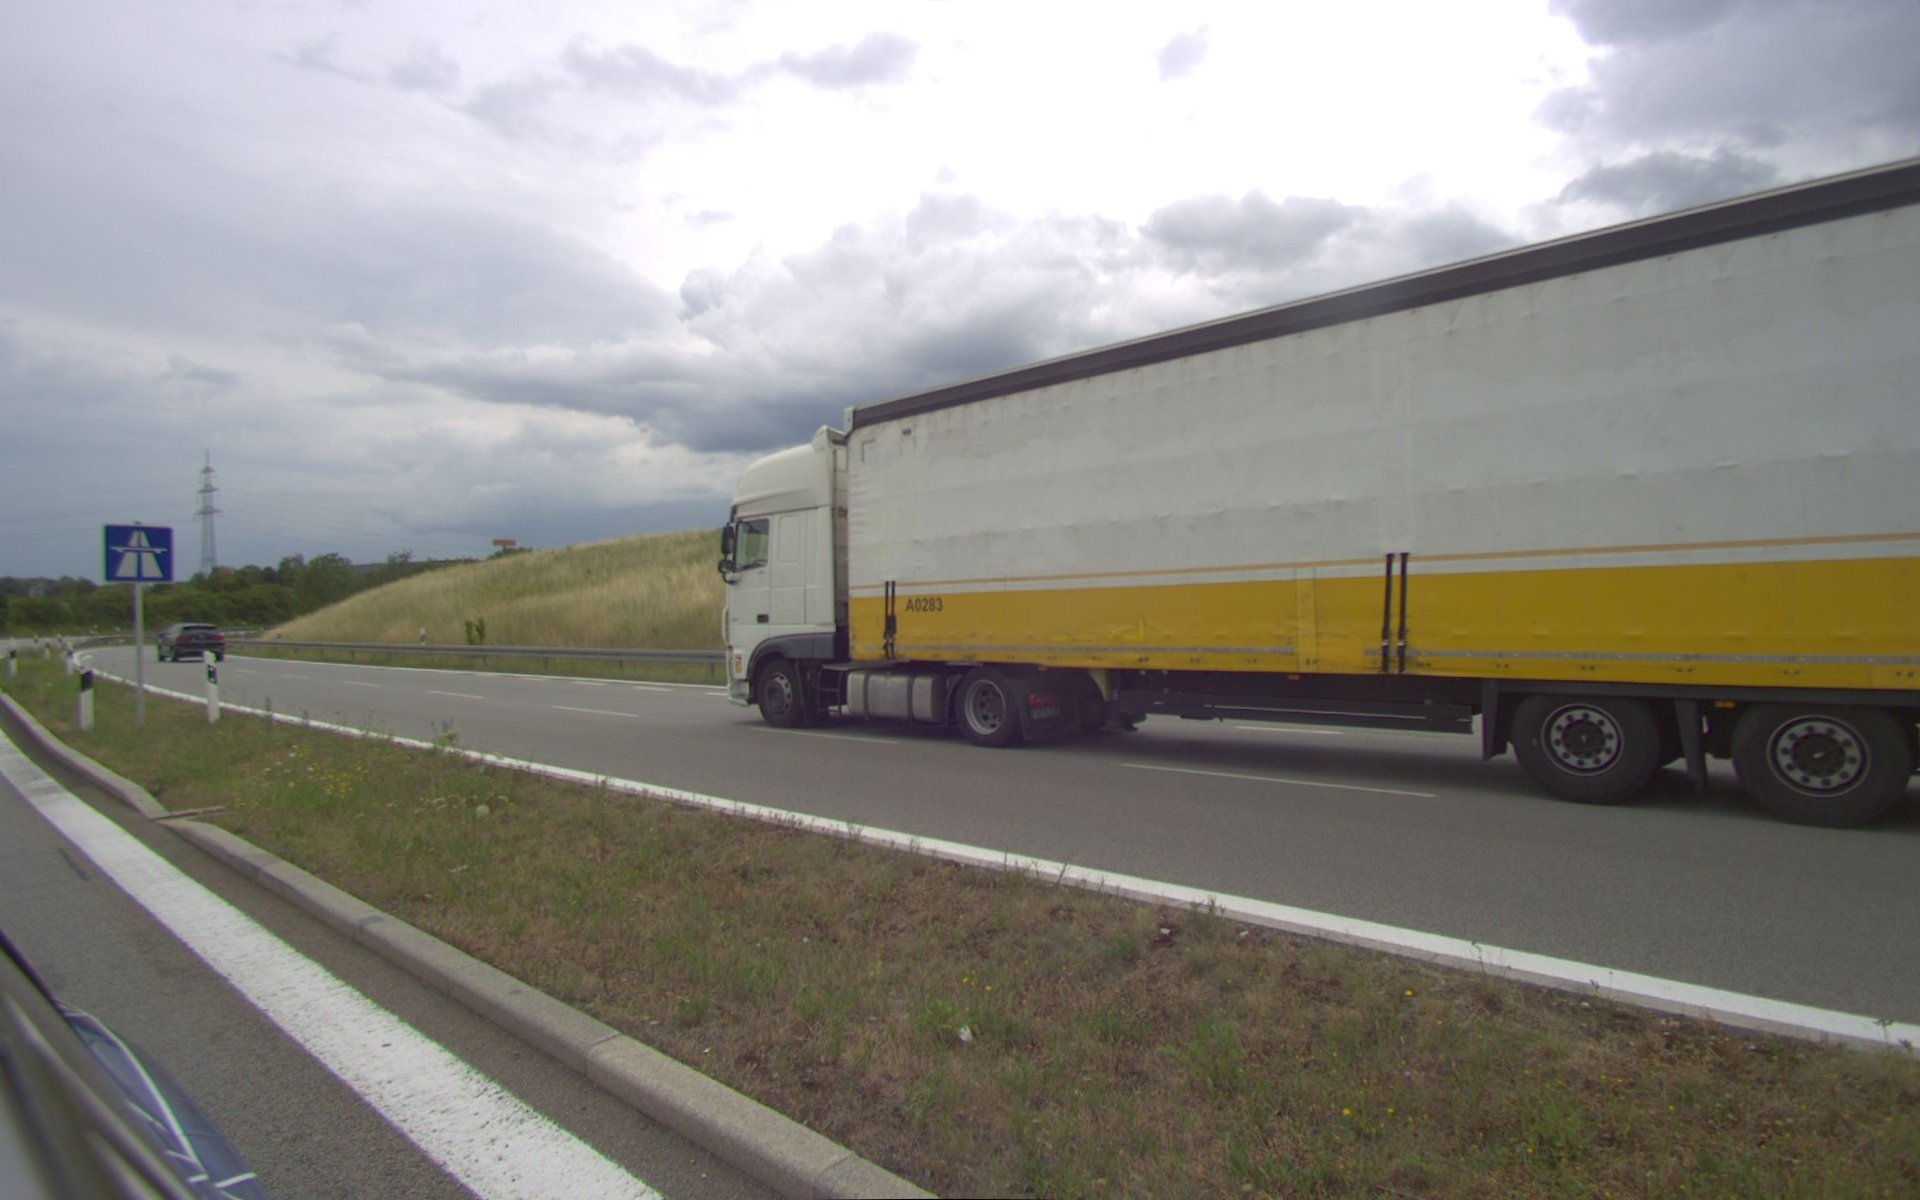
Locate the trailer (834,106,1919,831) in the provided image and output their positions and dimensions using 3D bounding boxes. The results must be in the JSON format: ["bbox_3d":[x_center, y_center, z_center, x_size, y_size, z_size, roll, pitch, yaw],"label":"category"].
[{"bbox_3d":[4.397,-0.753,8.885,13.841,4.242,2.662,-1,0,43],"label":"trailer"}]

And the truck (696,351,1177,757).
[{"bbox_3d":[-0.604,-0.458,13.557,6.403,4.172,2.621,-1,0,43],"label":"truck"}]

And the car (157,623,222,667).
[{"bbox_3d":[-32.751,1.853,42.979,1.969,1.696,4.120,-1,0,-41],"label":"car"}]
